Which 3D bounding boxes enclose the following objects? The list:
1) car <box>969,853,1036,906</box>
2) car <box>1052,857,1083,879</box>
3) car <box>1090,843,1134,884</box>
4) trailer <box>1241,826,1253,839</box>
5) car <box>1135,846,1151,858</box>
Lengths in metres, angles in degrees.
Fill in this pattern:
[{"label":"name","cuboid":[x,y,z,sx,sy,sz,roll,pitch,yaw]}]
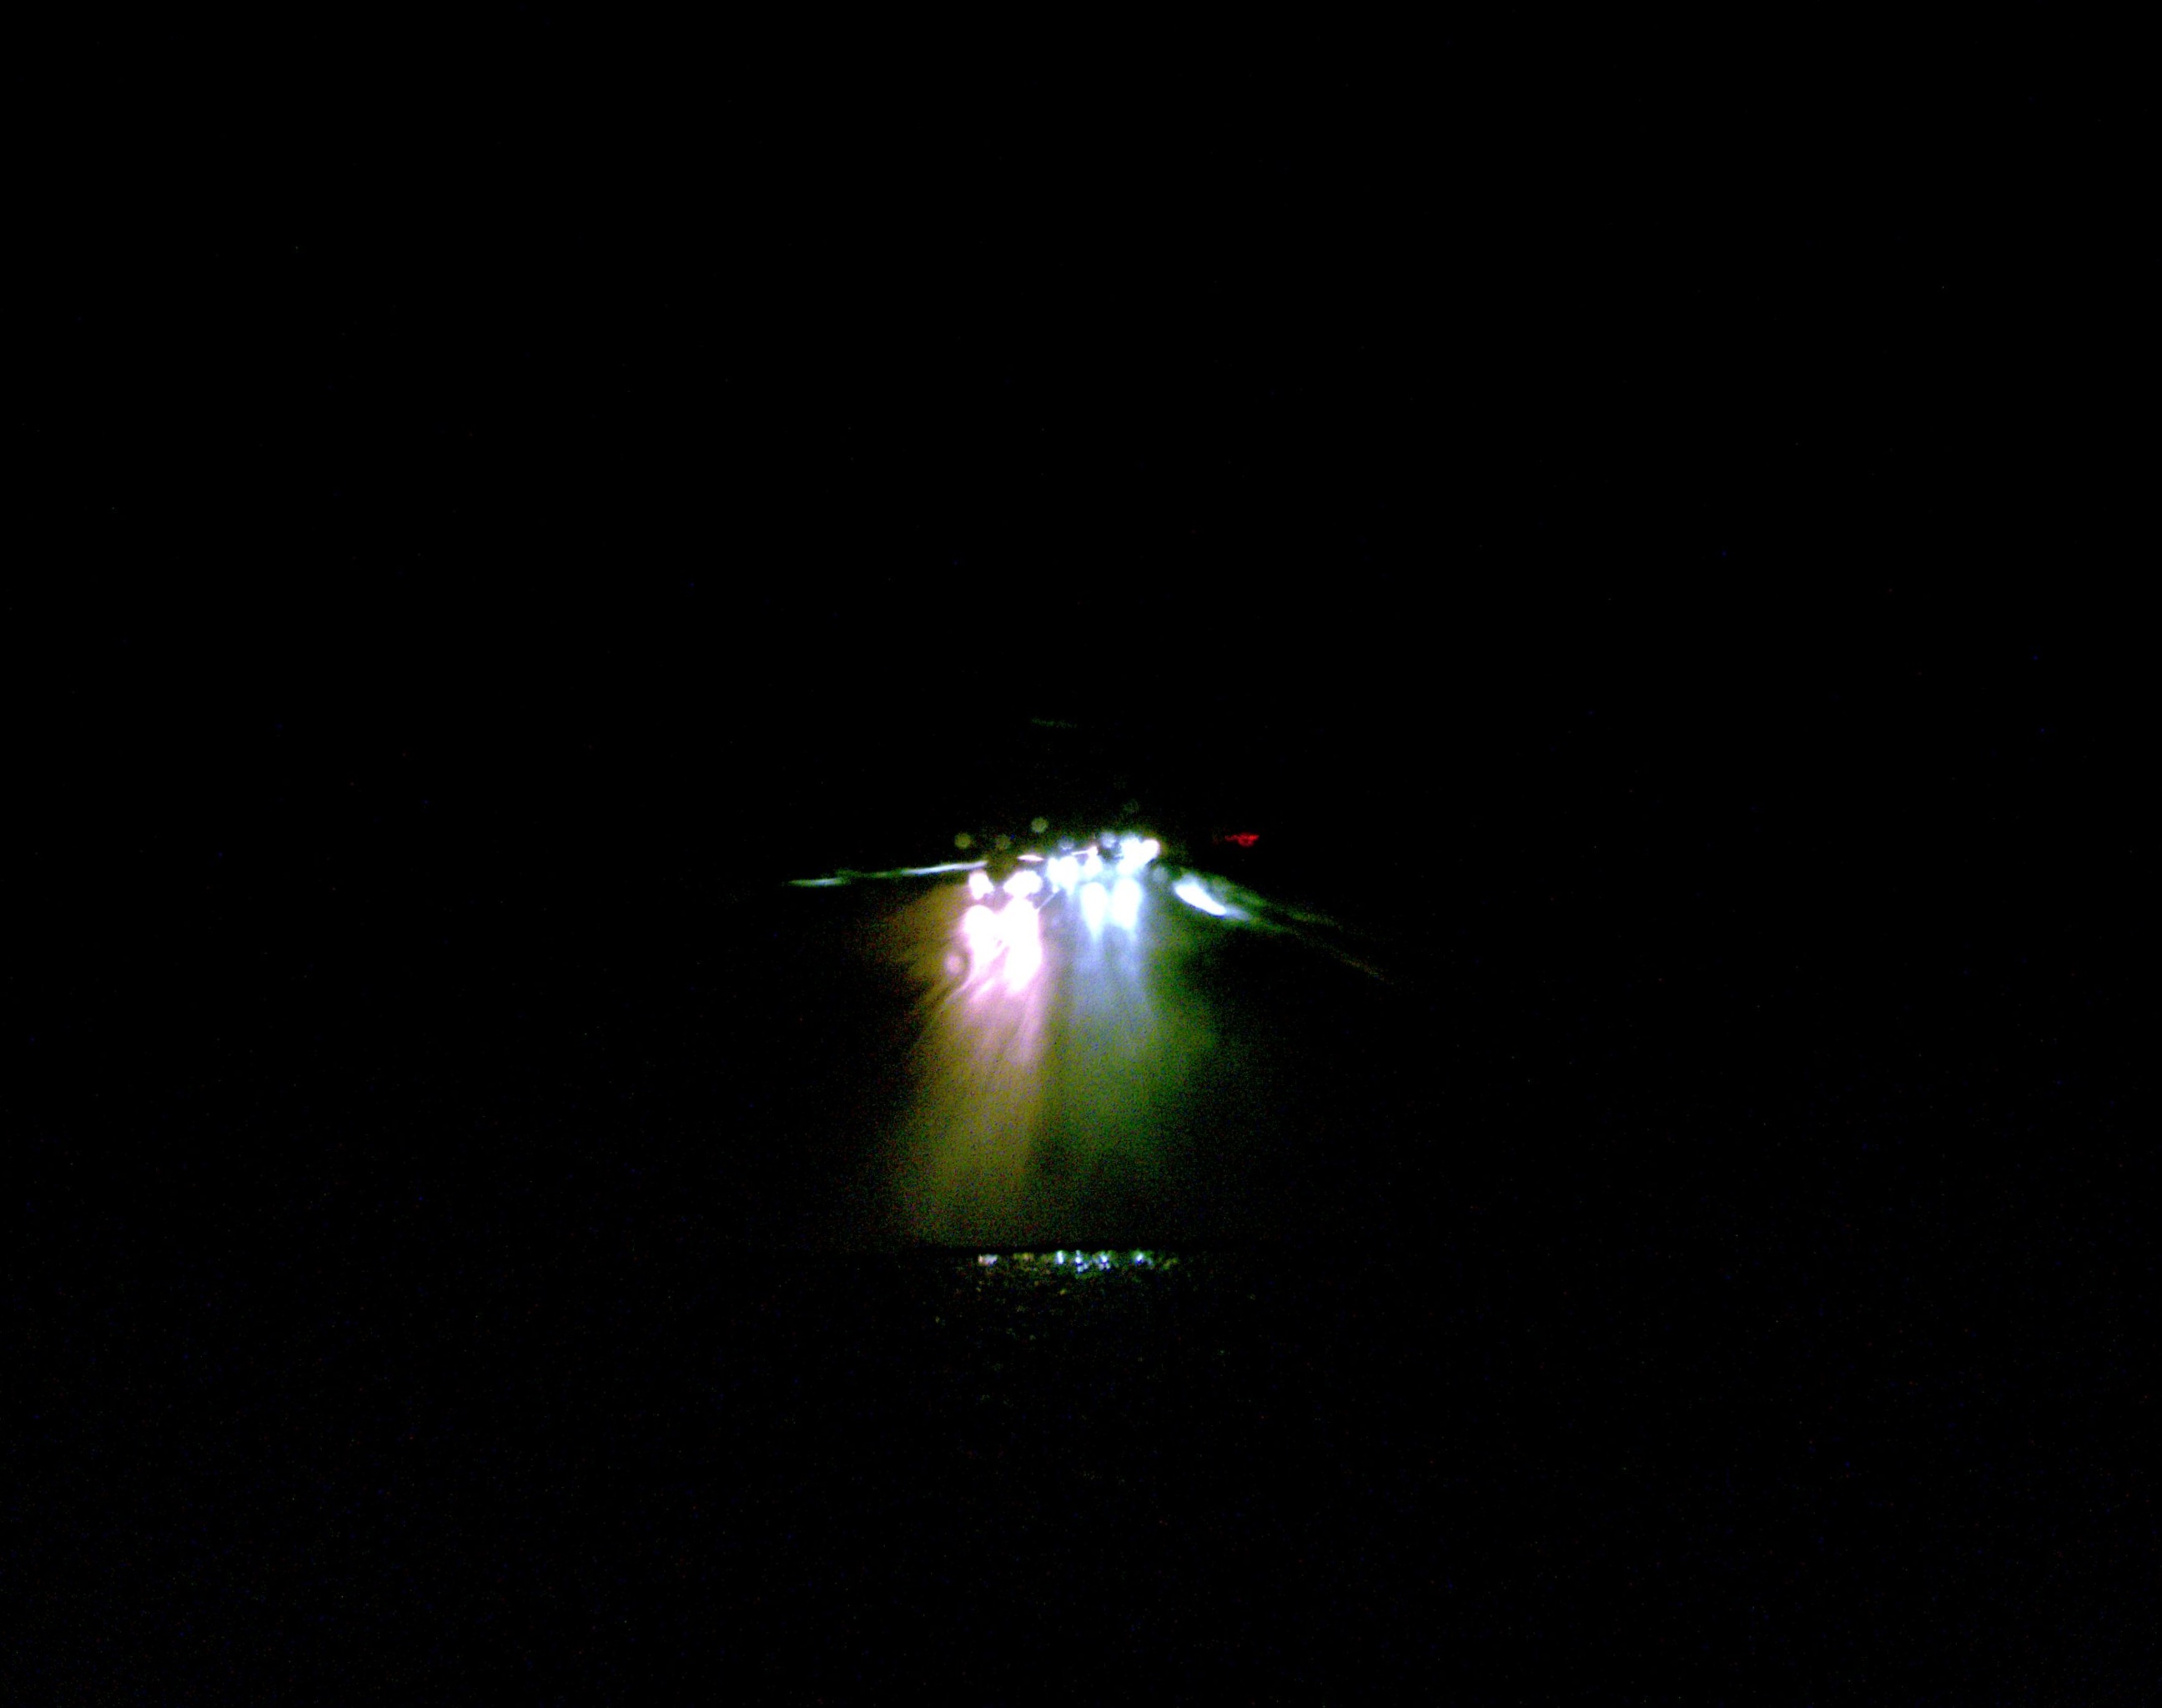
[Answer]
[{"label":"car","cuboid":[-2.677,0.829,26.832,1.805,1.608,4.256,-3,1,0]},{"label":"car","cuboid":[-1.061,1.119,61.938,1.847,1.614,3.681,-6,-1,7]},{"label":"car","cuboid":[1.752,0.511,41.413,1.998,2.001,4.002,-5,-1,6]},{"label":"trailer","cuboid":[53.017,-6.901,242.687,2.933,3.726,9.507,-7,-1,9]},{"label":"car","cuboid":[10.342,-0.337,126.618,1.997,1.802,4.003,-7,-1,10]}]
